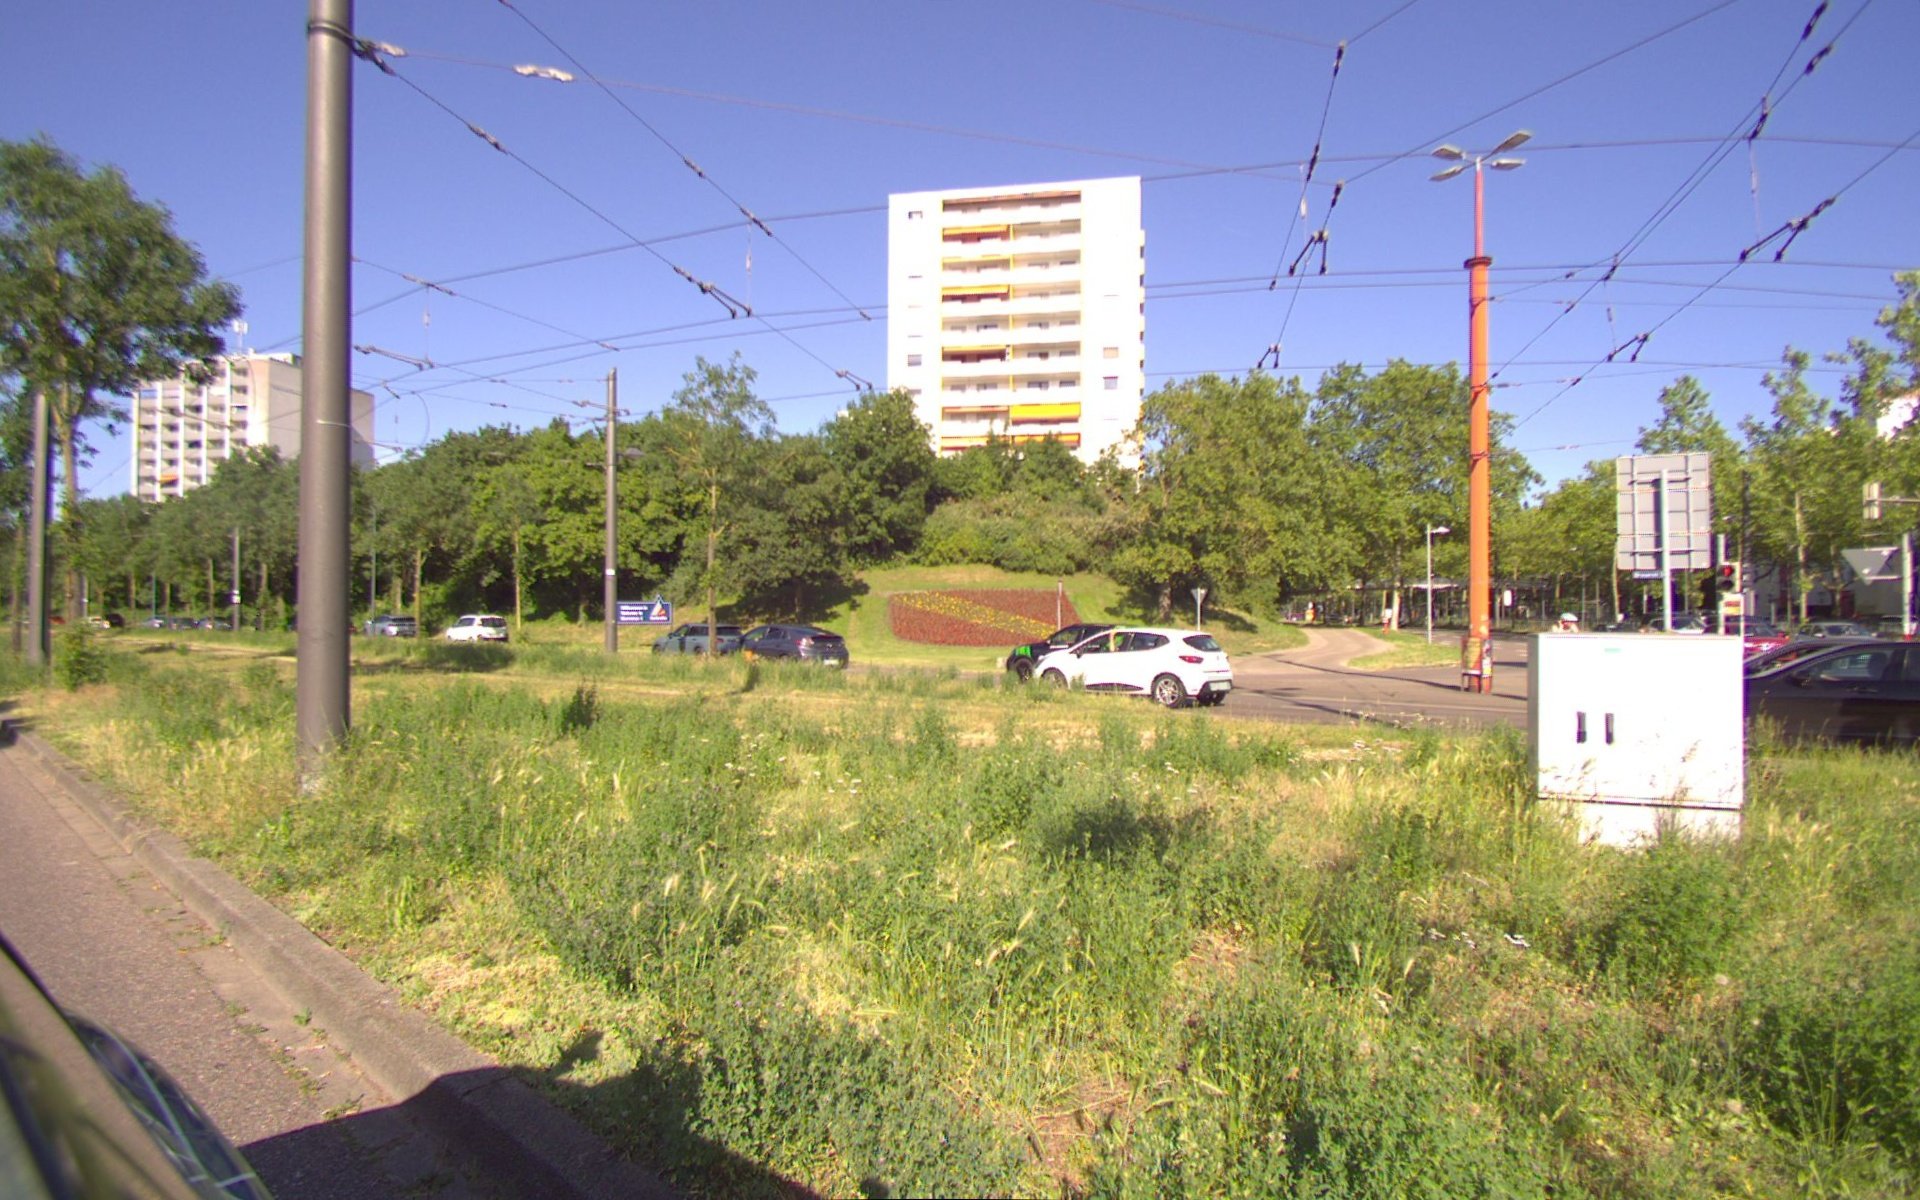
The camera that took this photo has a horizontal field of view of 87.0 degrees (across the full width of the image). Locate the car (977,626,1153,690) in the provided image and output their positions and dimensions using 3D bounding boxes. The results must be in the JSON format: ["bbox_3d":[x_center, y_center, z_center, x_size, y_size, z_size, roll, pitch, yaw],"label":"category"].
[{"bbox_3d":[2.530,1.373,24.979,3.998,1.429,1.843,-1,-2,41],"label":"car"}]

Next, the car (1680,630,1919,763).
[{"bbox_3d":[11.088,1.079,11.720,4.309,1.427,1.775,-1,-2,42],"label":"car"}]

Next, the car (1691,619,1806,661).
[{"bbox_3d":[28.816,1.422,37.128,1.668,1.446,4.049,-1,-1,12],"label":"car"}]

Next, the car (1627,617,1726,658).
[{"bbox_3d":[30.283,1.551,42.932,1.809,1.648,4.237,-1,-1,12],"label":"car"}]

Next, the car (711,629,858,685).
[{"bbox_3d":[-4.855,1.504,27.658,4.229,1.371,1.801,-1,-2,43],"label":"car"}]

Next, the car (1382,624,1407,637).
[{"bbox_3d":[50.790,3.543,118.407,1.747,1.360,4.347,-1,-1,11],"label":"car"}]

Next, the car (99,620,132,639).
[{"bbox_3d":[-81.821,2.811,98.034,3.998,1.779,1.858,-1,-2,41],"label":"car"}]

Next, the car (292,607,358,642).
[{"bbox_3d":[-33.218,1.261,52.880,3.998,1.779,1.858,-1,-2,41],"label":"car"}]

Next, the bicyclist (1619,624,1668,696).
[{"bbox_3d":[13.346,1.158,19.773,0.435,1.391,0.631,0,-2,-20],"label":"bicyclist"}]

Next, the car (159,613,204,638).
[{"bbox_3d":[-56.704,1.824,73.667,3.998,1.779,1.858,-1,-2,41],"label":"car"}]

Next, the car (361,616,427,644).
[{"bbox_3d":[-31.487,1.642,56.257,3.998,1.497,1.972,-1,-2,41],"label":"car"}]

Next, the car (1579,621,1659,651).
[{"bbox_3d":[32.199,1.729,49.572,1.747,1.360,4.347,-1,-1,11],"label":"car"}]

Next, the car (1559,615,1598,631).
[{"bbox_3d":[79.786,2.995,130.610,3.969,2.029,1.987,-1,-1,20],"label":"car"}]

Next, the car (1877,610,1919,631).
[{"bbox_3d":[64.896,1.400,68.405,1.770,1.420,4.010,1,-1,-36],"label":"car"}]

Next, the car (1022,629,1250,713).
[{"bbox_3d":[3.329,1.285,19.570,4.000,1.429,1.842,-1,-2,43],"label":"car"}]

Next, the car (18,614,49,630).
[{"bbox_3d":[-101.608,2.408,110.971,3.994,1.779,1.860,-1,-2,38],"label":"car"}]

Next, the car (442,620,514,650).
[{"bbox_3d":[-23.441,1.676,49.133,4.000,1.409,1.822,-1,-2,43],"label":"car"}]

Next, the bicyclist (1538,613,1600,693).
[{"bbox_3d":[12.222,1.053,20.324,0.719,1.557,0.770,0,-2,-20],"label":"bicyclist"}]

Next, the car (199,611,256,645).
[{"bbox_3d":[-44.902,1.685,62.007,3.998,2.029,1.973,-1,-2,41],"label":"car"}]

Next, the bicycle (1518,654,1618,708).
[{"bbox_3d":[12.171,1.596,20.315,0.673,0.968,1.650,0,-1,-21],"label":"bicycle"}]

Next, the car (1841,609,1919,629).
[{"bbox_3d":[65.885,1.378,72.387,1.770,1.420,4.010,1,-1,-36],"label":"car"}]

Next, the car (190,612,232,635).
[{"bbox_3d":[-59.046,1.865,79.740,3.998,1.779,1.858,-1,-2,41],"label":"car"}]

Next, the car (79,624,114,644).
[{"bbox_3d":[-77.692,3.035,91.030,4.000,1.674,1.883,-1,-2,43],"label":"car"}]

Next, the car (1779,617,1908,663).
[{"bbox_3d":[32.178,1.423,37.014,1.841,1.557,4.240,0,-1,15],"label":"car"}]

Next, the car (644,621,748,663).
[{"bbox_3d":[-9.342,1.457,35.649,4.001,1.386,1.717,-1,-2,44],"label":"car"}]

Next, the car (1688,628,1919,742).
[{"bbox_3d":[13.275,1.182,14.626,1.767,1.519,4.243,1,-2,-45],"label":"car"}]

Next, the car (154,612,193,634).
[{"bbox_3d":[-67.311,1.957,86.596,3.998,1.779,1.858,-1,-2,41],"label":"car"}]
